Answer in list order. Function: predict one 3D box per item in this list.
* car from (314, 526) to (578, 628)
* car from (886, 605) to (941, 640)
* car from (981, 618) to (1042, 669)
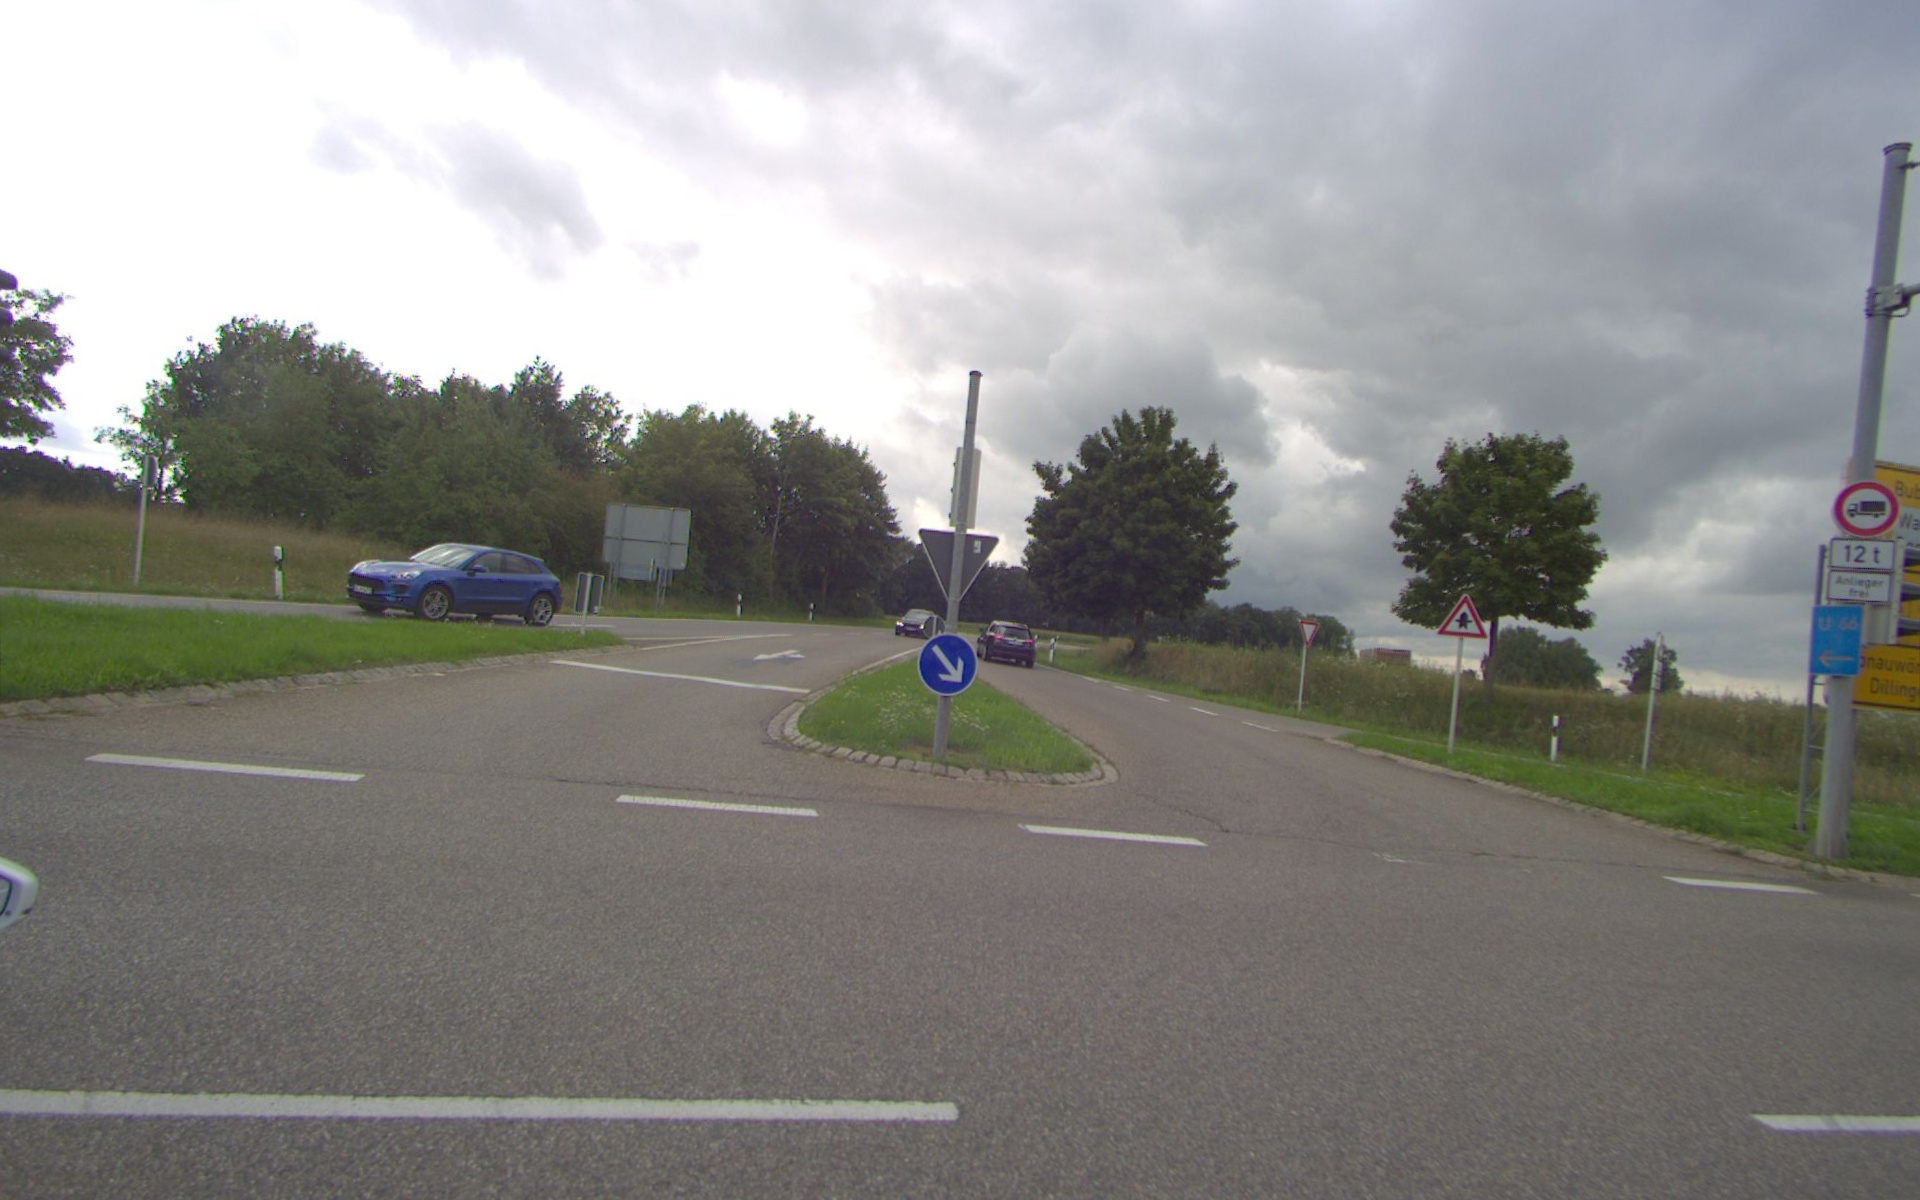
[{"bbox_3d":[-10.707,-0.406,21.415,1.963,1.589,4.756,6,-1,22],"label":"car"},{"bbox_3d":[-2.419,1.221,53.265,1.962,1.521,4.671,7,-1,8],"label":"car"},{"bbox_3d":[1.817,1.546,36.720,1.780,1.469,4.271,7,0,-1],"label":"car"}]
